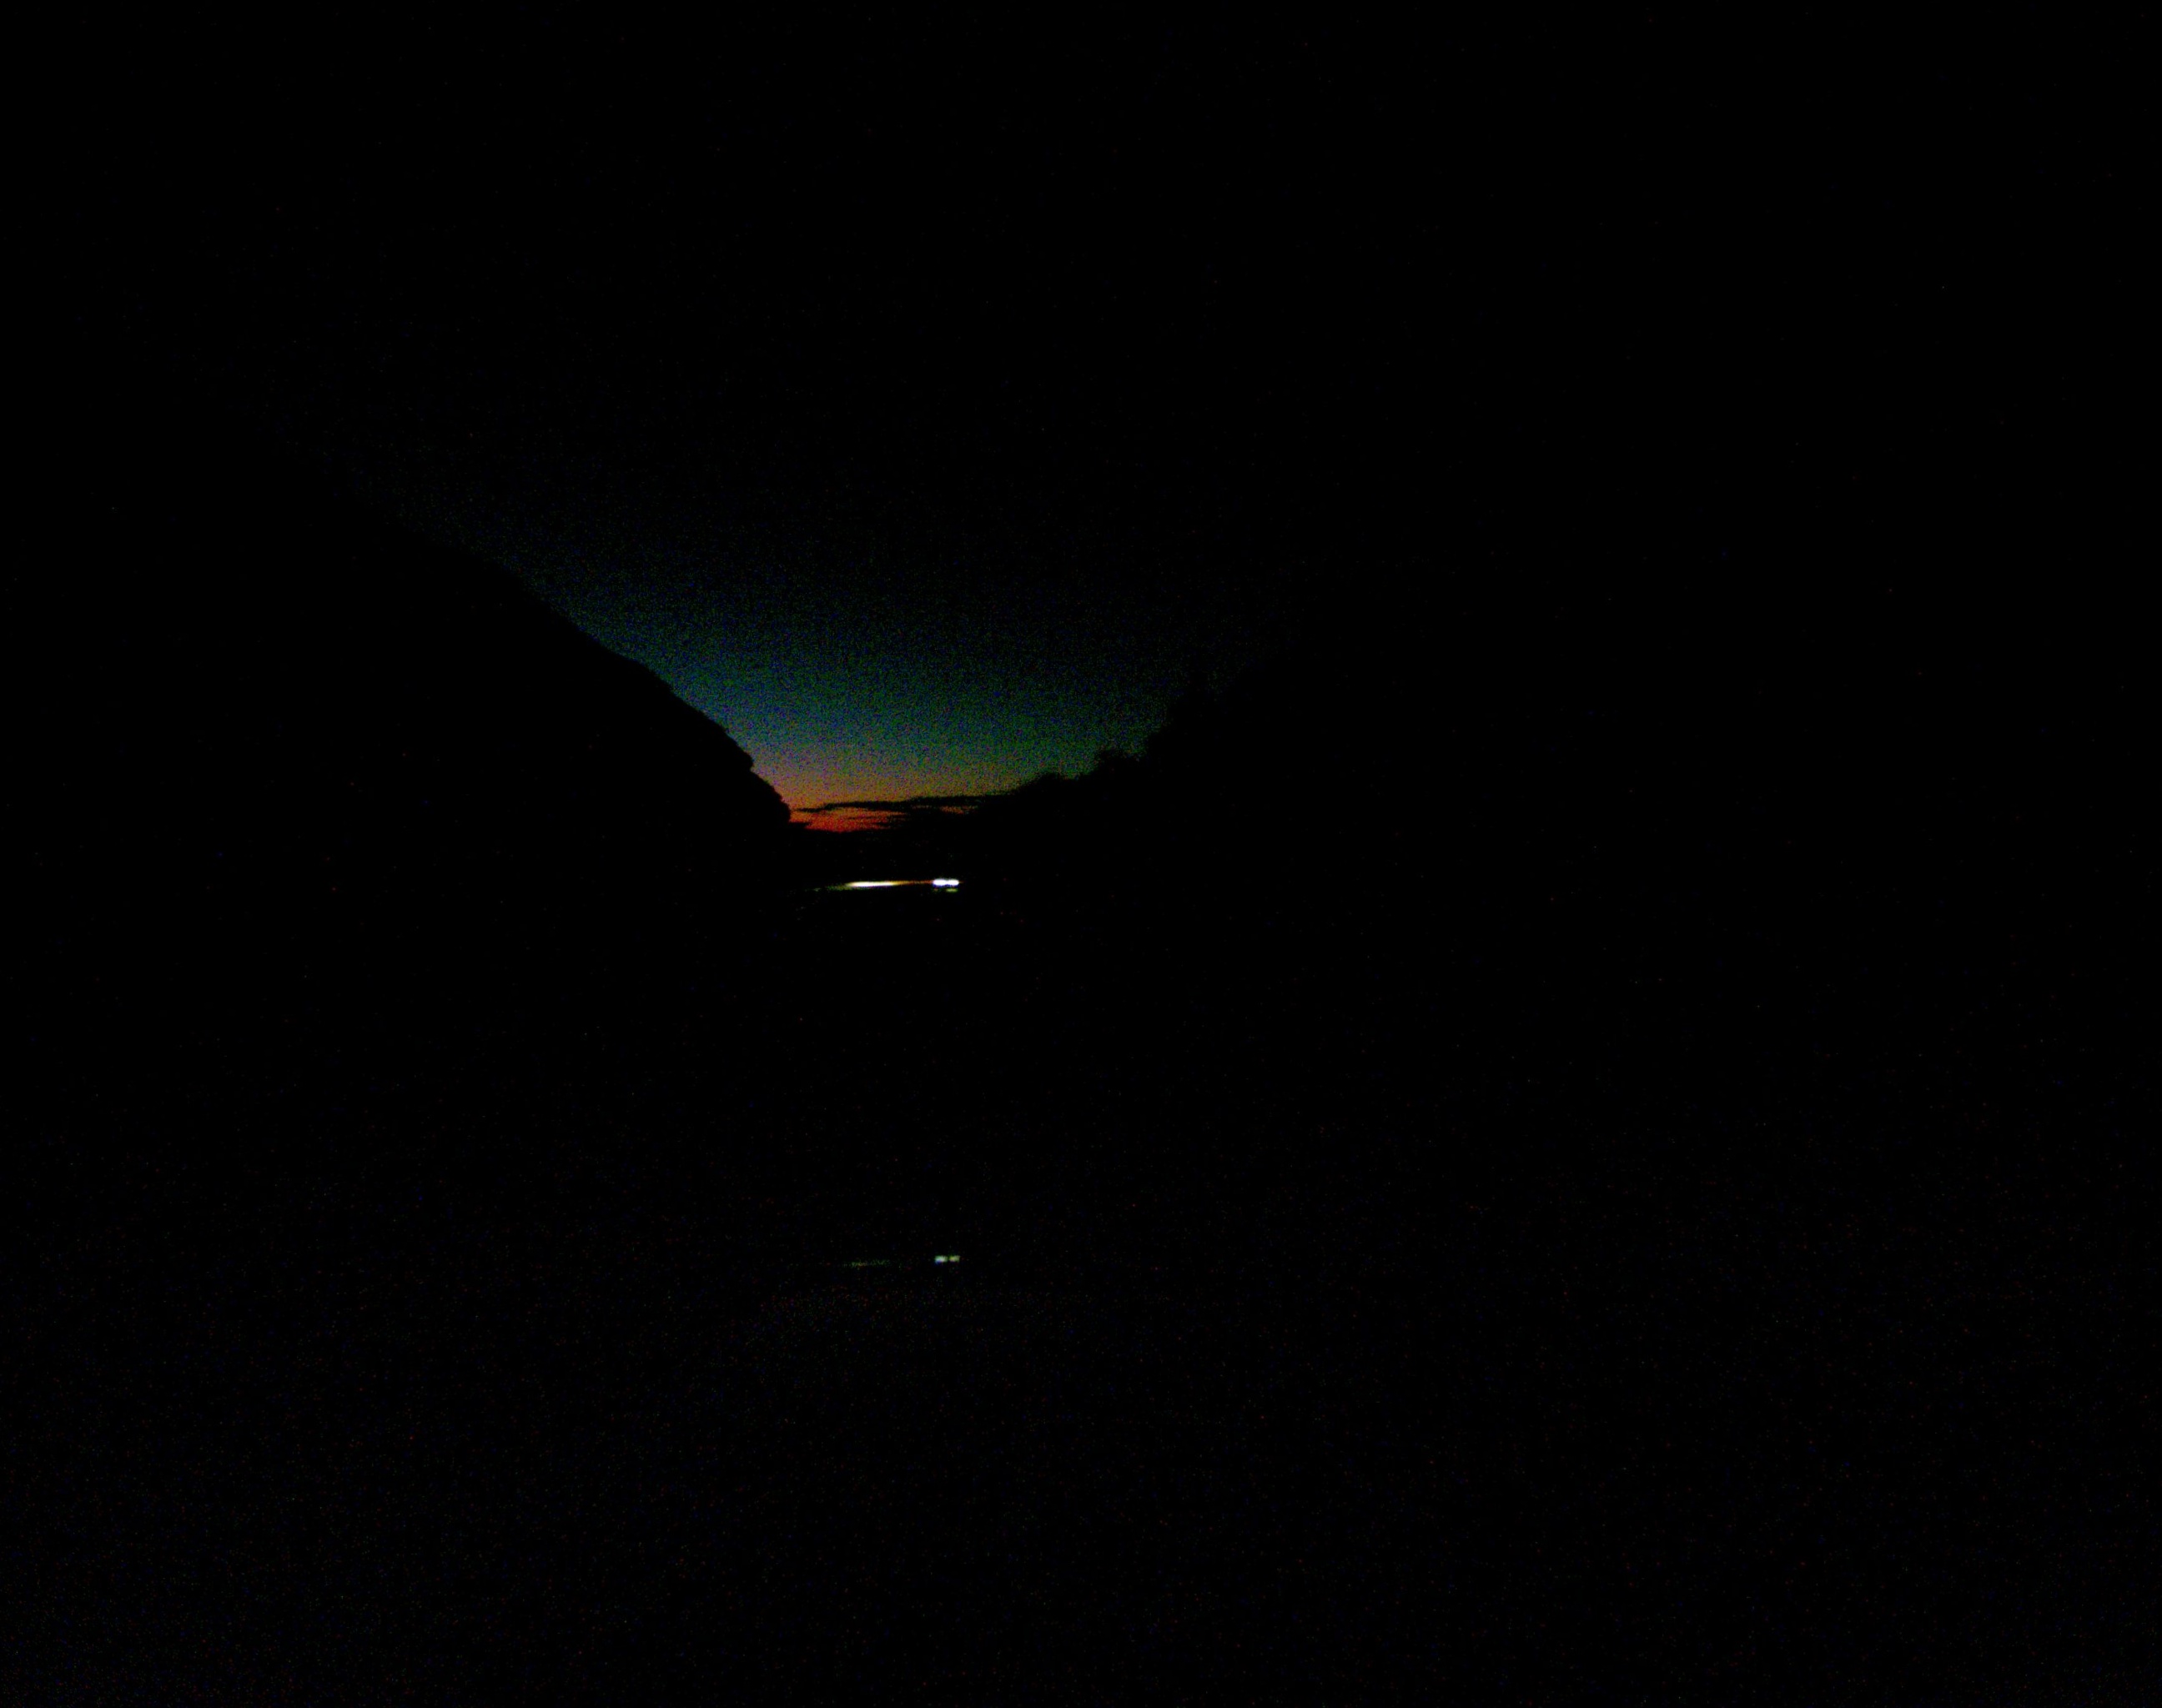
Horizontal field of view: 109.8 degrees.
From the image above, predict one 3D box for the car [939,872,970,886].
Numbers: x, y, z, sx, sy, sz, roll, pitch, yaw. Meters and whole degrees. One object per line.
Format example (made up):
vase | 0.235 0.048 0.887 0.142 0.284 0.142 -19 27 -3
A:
car | -14.129 2.786 85.258 1.760 1.450 4.198 0 -1 17
